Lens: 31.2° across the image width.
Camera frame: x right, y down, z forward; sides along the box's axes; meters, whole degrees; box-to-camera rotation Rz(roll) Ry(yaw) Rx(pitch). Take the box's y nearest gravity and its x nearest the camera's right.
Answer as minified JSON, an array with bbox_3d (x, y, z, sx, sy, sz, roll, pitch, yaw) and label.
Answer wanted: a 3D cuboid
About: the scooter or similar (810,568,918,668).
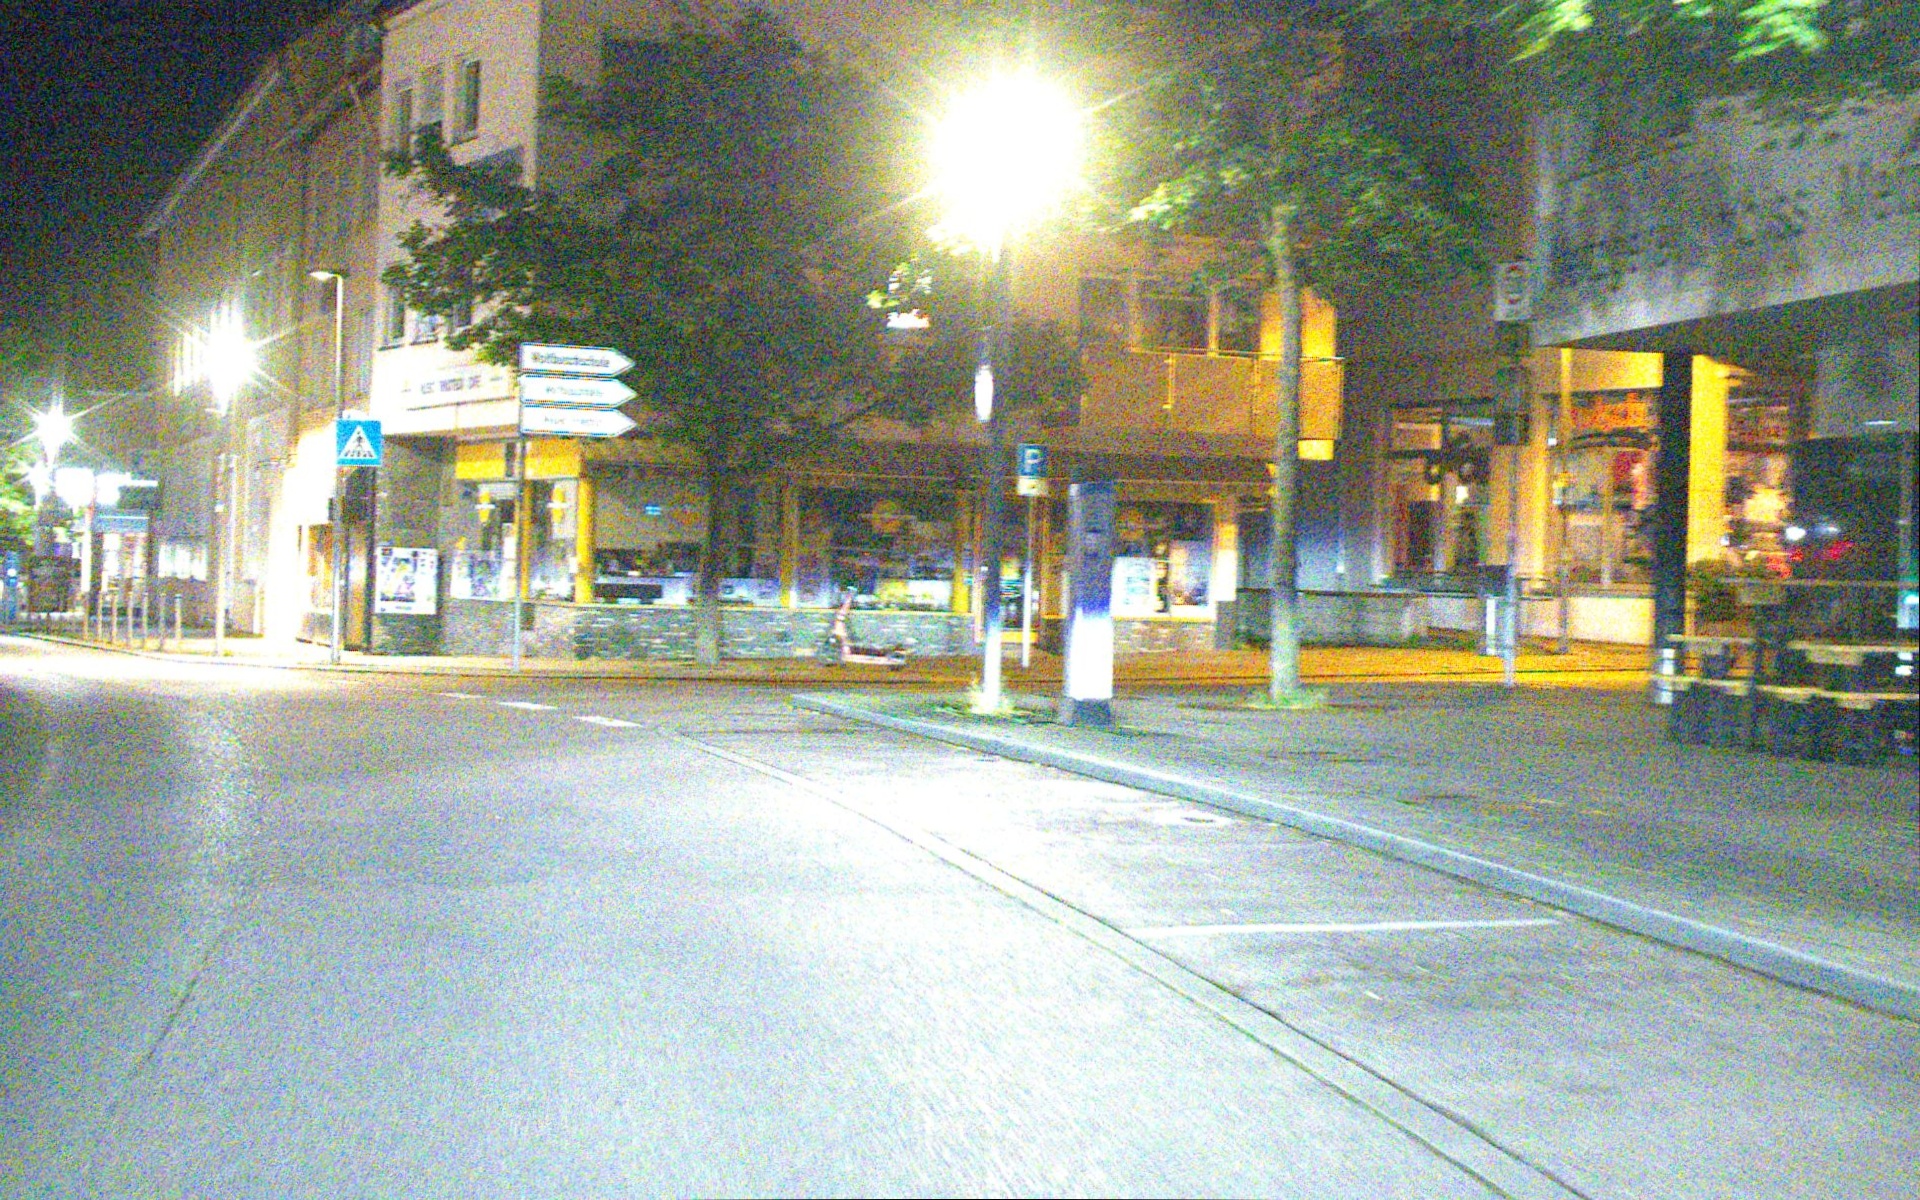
[{"bbox_3d":[-1.233,0.232,44.105,1.246,1.223,0.598,2,2,-14],"label":"scooter or similar"}]
